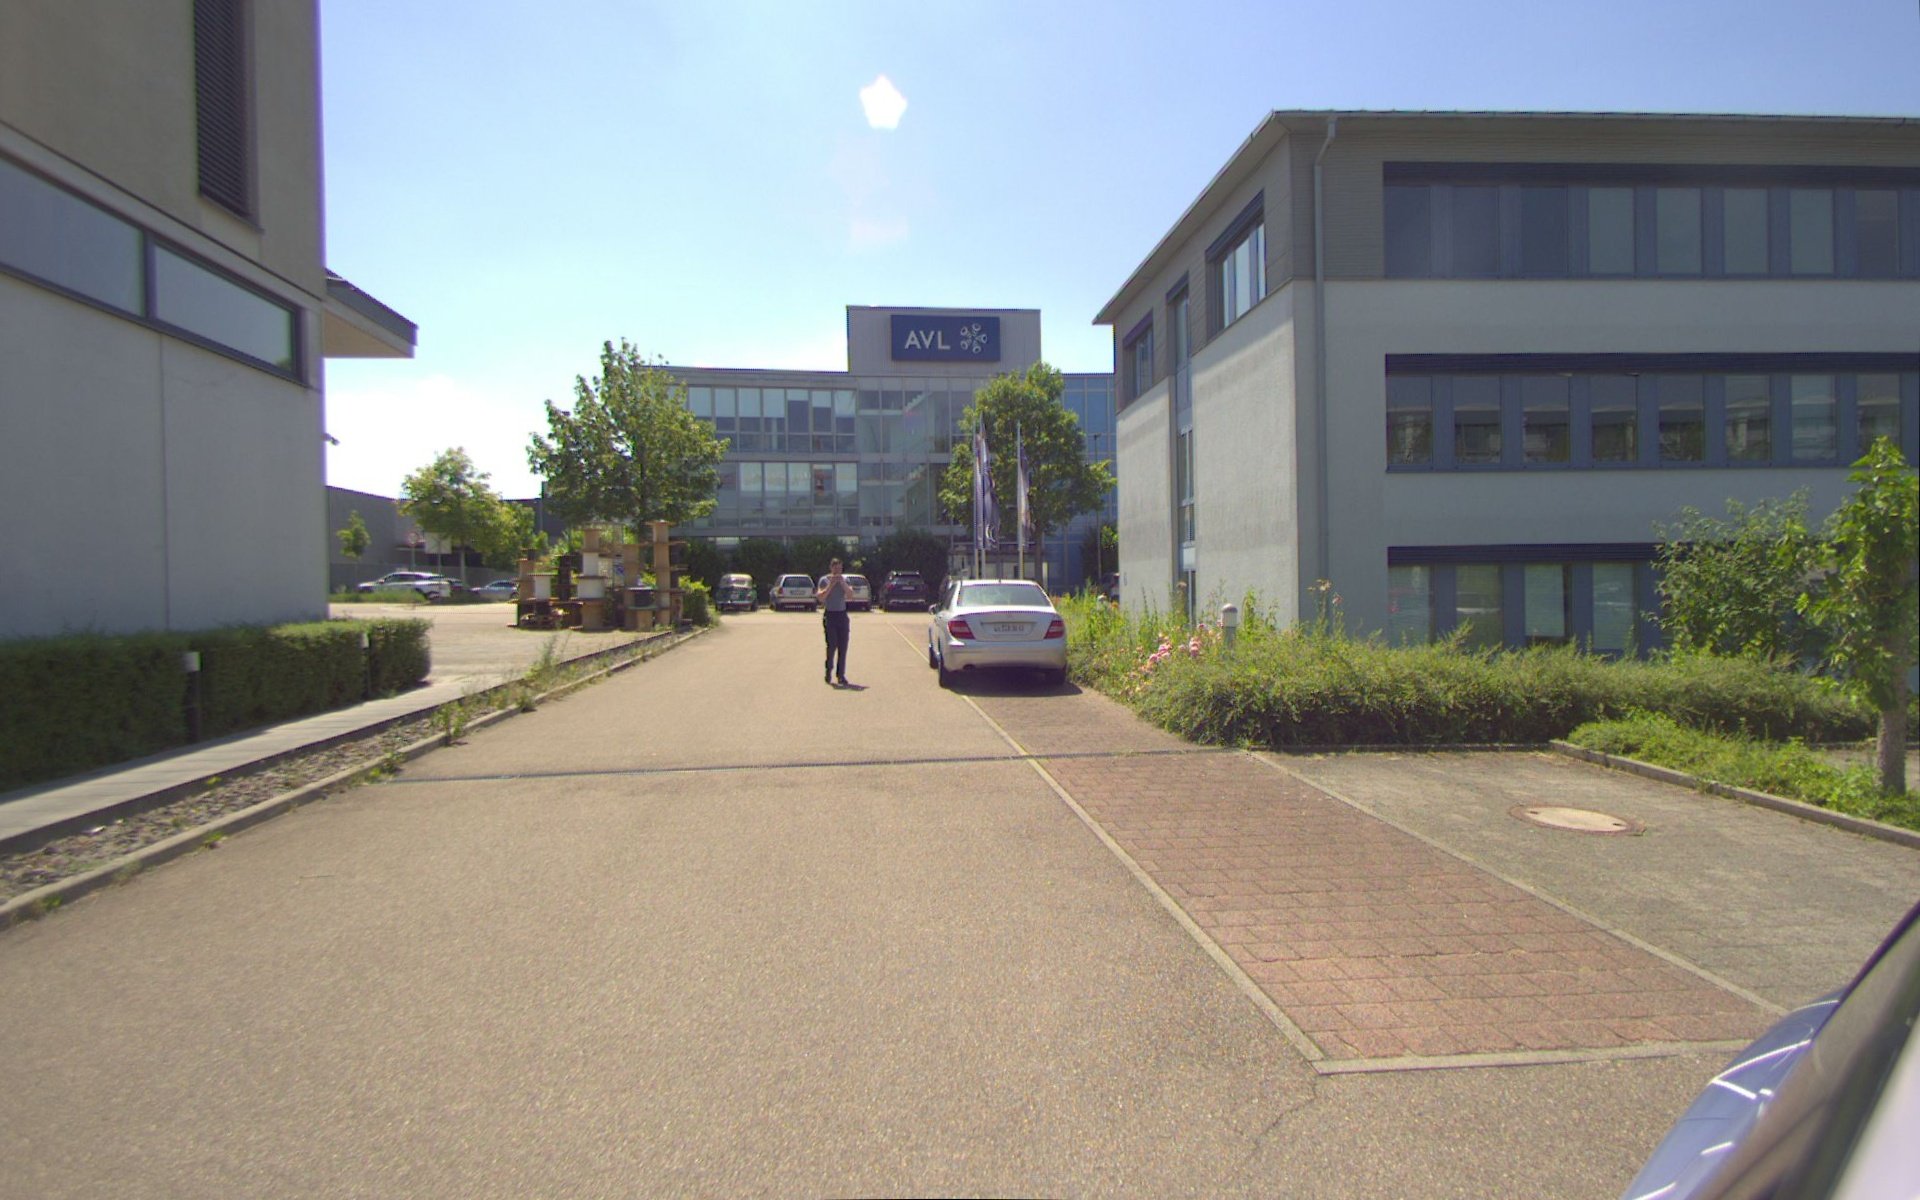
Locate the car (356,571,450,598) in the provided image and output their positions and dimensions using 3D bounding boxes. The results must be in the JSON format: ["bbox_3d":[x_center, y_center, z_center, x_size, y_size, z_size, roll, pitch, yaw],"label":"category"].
[{"bbox_3d":[-30.898,-0.846,56.178,4.371,1.433,1.746,0,0,6],"label":"car"}]

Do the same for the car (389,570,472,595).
[{"bbox_3d":[-30.768,-0.994,58.828,3.995,1.433,1.746,0,0,6],"label":"car"}]

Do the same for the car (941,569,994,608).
[{"bbox_3d":[0.266,-0.492,42.734,1.714,1.538,4.005,0,1,-7],"label":"car"}]

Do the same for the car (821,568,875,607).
[{"bbox_3d":[-4.729,-0.517,42.334,1.713,1.538,4.008,0,1,-14],"label":"car"}]

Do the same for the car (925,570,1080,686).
[{"bbox_3d":[0.481,0.335,14.667,1.695,1.454,3.721,0,1,-6],"label":"car"}]

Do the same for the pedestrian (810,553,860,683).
[{"bbox_3d":[-1.763,0.241,14.243,0.606,1.779,0.790,0,0,-13],"label":"pedestrian"}]

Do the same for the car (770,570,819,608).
[{"bbox_3d":[-6.807,-0.458,41.442,1.639,1.459,4.008,0,1,-14],"label":"car"}]

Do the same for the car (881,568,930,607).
[{"bbox_3d":[-2.321,-0.517,42.188,1.714,1.538,4.005,0,1,-7],"label":"car"}]

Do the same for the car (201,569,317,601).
[{"bbox_3d":[-32.179,-0.667,46.483,4.372,1.433,1.746,0,0,8],"label":"car"}]

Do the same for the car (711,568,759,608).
[{"bbox_3d":[-9.073,-0.471,40.960,1.713,1.538,4.007,0,1,-10],"label":"car"}]
